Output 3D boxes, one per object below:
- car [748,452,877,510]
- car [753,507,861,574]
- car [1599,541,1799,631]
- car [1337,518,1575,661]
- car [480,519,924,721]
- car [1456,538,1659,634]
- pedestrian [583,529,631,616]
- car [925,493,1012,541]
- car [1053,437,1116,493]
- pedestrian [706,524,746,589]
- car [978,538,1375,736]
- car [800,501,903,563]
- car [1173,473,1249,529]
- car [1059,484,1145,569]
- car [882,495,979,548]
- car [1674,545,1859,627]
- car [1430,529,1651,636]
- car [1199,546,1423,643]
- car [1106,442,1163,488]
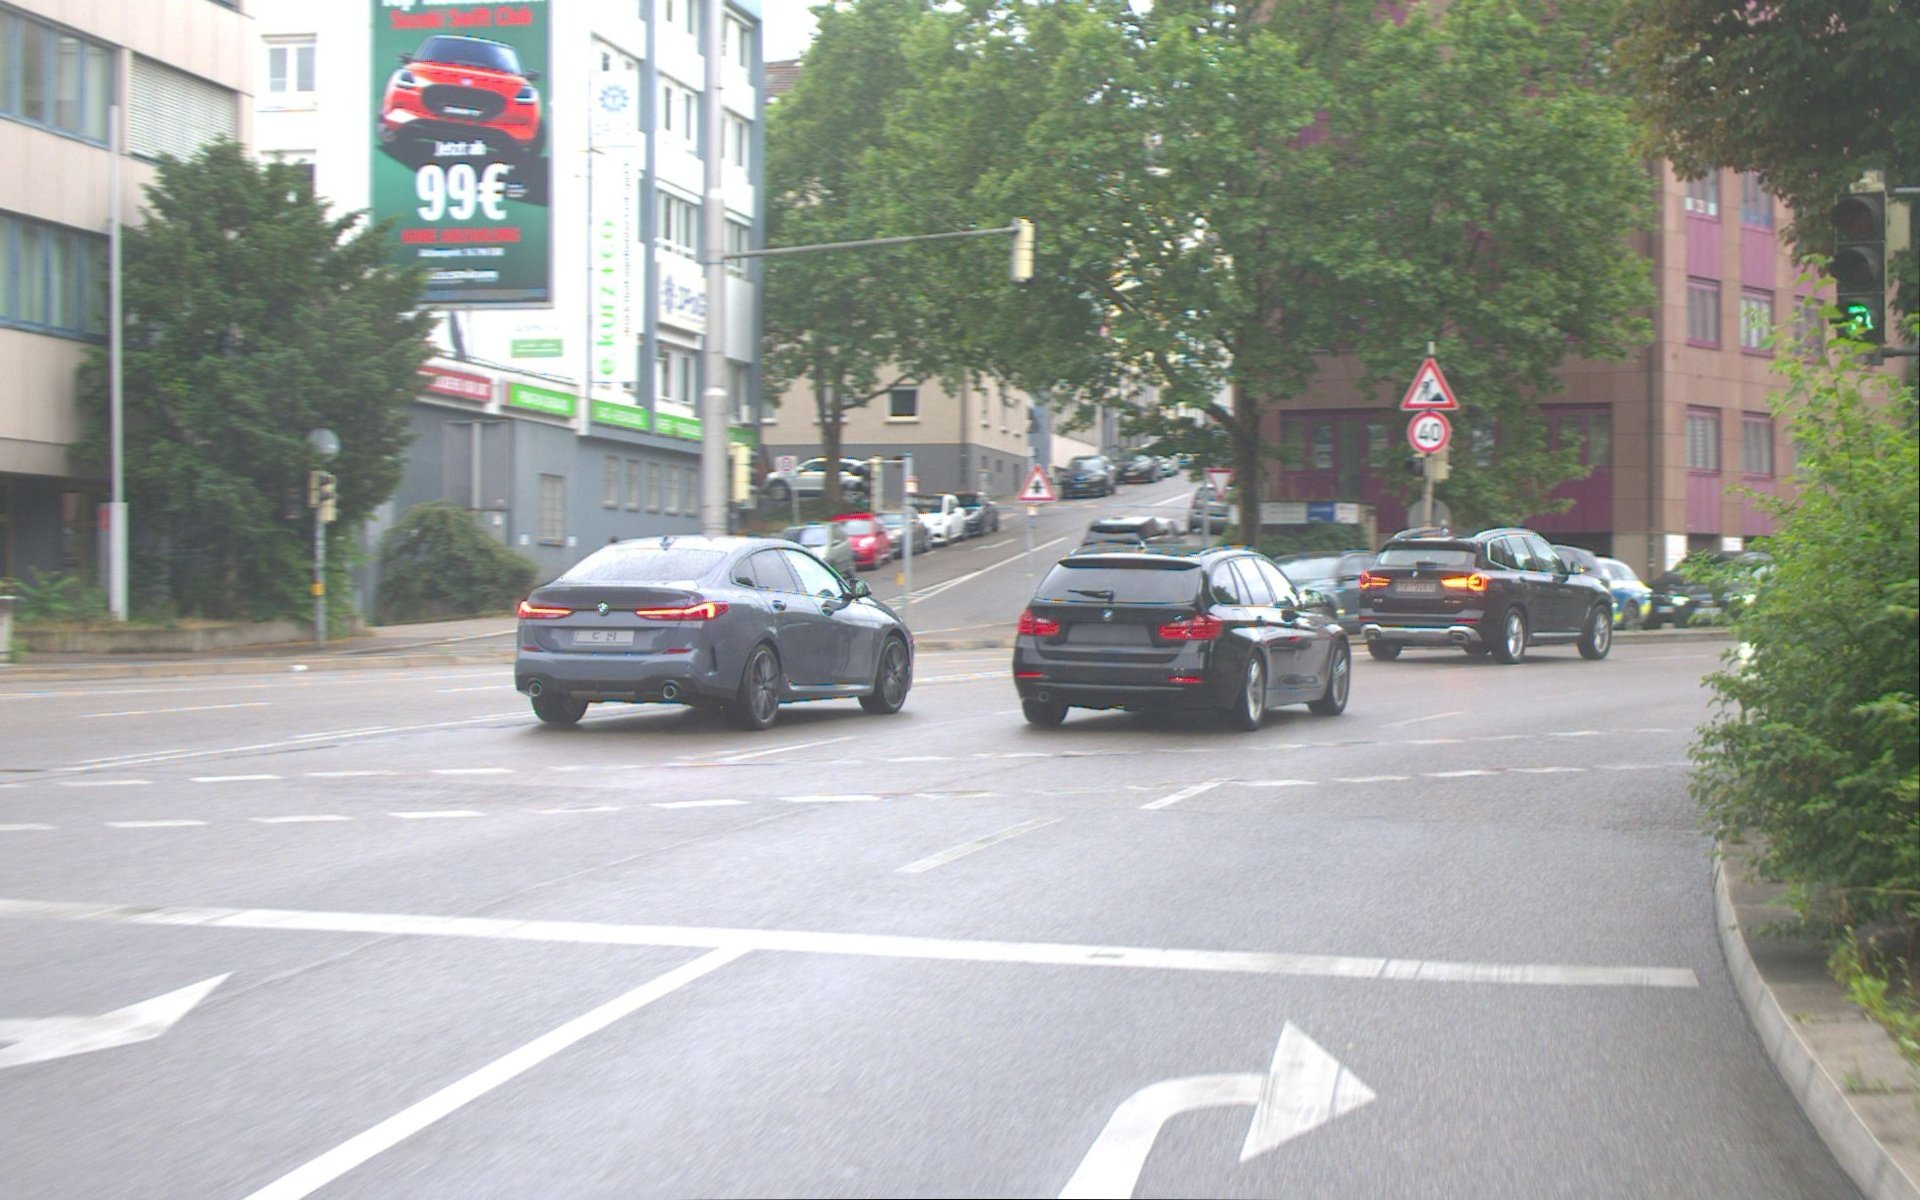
[{"bbox_3d":[-5.343,-4.305,124.816,4.418,1.999,1.999,0,0,7],"label":"car"},{"bbox_3d":[-3.963,-1.578,89.839,1.834,1.458,4.176,-1,4,12],"label":"car"},{"bbox_3d":[14.533,-0.273,67.433,1.997,1.672,4.927,-1,0,36],"label":"car"},{"bbox_3d":[6.234,-0.111,42.852,1.902,1.688,3.995,-1,0,24],"label":"car"},{"bbox_3d":[-1.875,0.153,26.516,1.792,1.422,4.380,0,0,20],"label":"car"},{"bbox_3d":[10.935,-0.240,62.670,1.770,1.676,4.581,-1,0,36],"label":"car"},{"bbox_3d":[-8.205,-0.638,79.914,0.839,2.007,0.981,0,0,11],"label":"pedestrian"},{"bbox_3d":[0.303,-2.651,109.071,1.834,1.426,4.068,-1,2,14],"label":"car"},{"bbox_3d":[4.874,-5.251,134.102,1.994,2.007,3.998,0,0,9],"label":"car"},{"bbox_3d":[-6.255,-1.159,91.853,0.839,1.712,0.981,0,0,11],"label":"pedestrian"},{"bbox_3d":[1.833,0.239,27.425,1.793,1.421,4.608,1,1,22],"label":"car"},{"bbox_3d":[-2.988,-1.902,95.413,1.834,1.426,4.069,-1,4,13],"label":"car"},{"bbox_3d":[8.065,-3.181,110.012,1.931,1.668,3.999,0,3,11],"label":"car"},{"bbox_3d":[3.599,-1.884,86.701,1.931,1.861,4.000,1,5,5],"label":"car"},{"bbox_3d":[-0.883,-2.404,104.350,1.834,1.426,4.067,-1,3,16],"label":"car"},{"bbox_3d":[14.570,-0.237,61.994,1.770,1.412,4.074,-1,0,36],"label":"car"},{"bbox_3d":[9.392,-0.279,55.341,1.857,1.617,4.584,-2,0,32],"label":"car"},{"bbox_3d":[5.715,-0.075,55.617,1.821,1.507,4.224,-1,0,34],"label":"car"},{"bbox_3d":[7.526,-5.812,147.617,1.994,1.836,3.999,0,4,9],"label":"car"}]
